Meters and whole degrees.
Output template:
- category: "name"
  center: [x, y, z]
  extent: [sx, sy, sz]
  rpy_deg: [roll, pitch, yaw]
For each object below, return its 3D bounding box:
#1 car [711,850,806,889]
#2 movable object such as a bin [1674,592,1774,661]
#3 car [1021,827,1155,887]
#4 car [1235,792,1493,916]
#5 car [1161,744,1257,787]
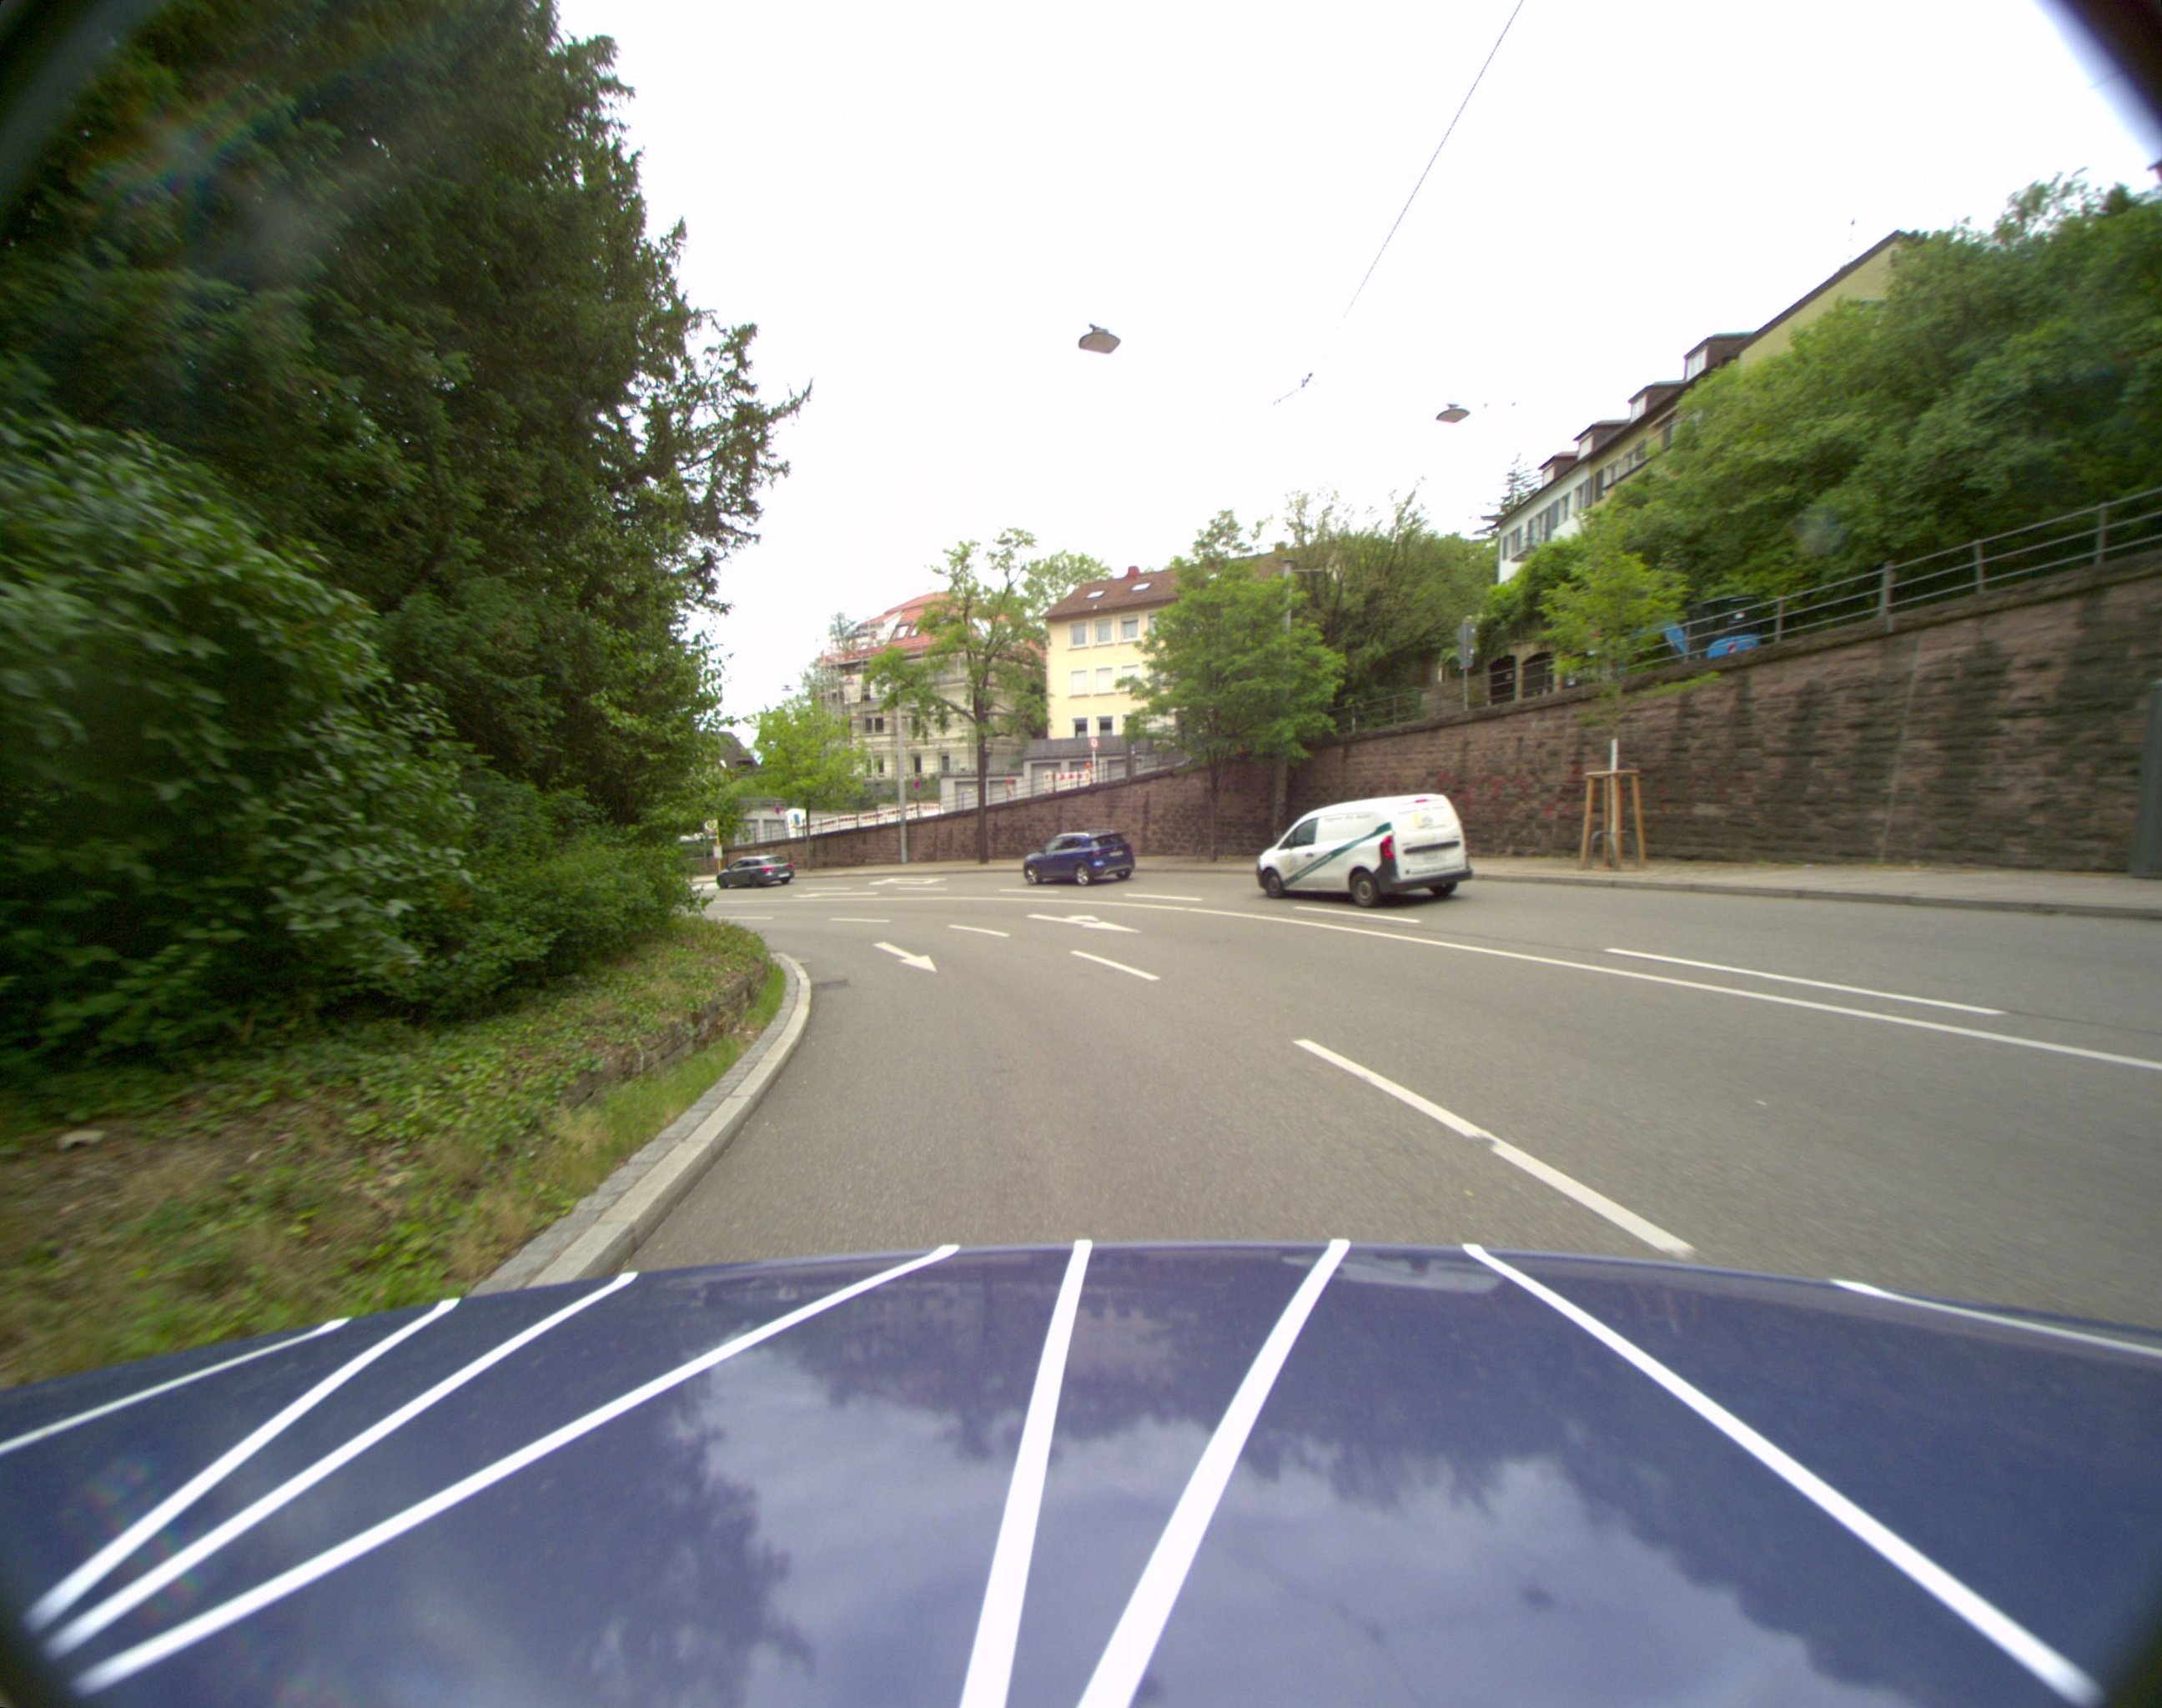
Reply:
- category: "car"
  center: [-15.269, 0.739, 35.942]
  extent: [4.391, 1.459, 1.790]
  rpy_deg: [-2, 7, 32]
- category: "movable object such as a bin"
  center: [17.216, -6.044, 20.375]
  extent: [1.253, 1.348, 1.602]
  rpy_deg: [-5, 2, -22]
- category: "car"
  center: [0.116, 0.095, 23.422]
  extent: [1.734, 1.520, 4.190]
  rpy_deg: [-9, 5, -38]
- category: "car"
  center: [5.010, -0.031, 14.289]
  extent: [1.828, 1.754, 4.662]
  rpy_deg: [-8, 3, -19]
- category: "car"
  center: [5.973, -4.124, 35.636]
  extent: [4.053, 1.632, 1.777]
  rpy_deg: [0, 7, 43]
